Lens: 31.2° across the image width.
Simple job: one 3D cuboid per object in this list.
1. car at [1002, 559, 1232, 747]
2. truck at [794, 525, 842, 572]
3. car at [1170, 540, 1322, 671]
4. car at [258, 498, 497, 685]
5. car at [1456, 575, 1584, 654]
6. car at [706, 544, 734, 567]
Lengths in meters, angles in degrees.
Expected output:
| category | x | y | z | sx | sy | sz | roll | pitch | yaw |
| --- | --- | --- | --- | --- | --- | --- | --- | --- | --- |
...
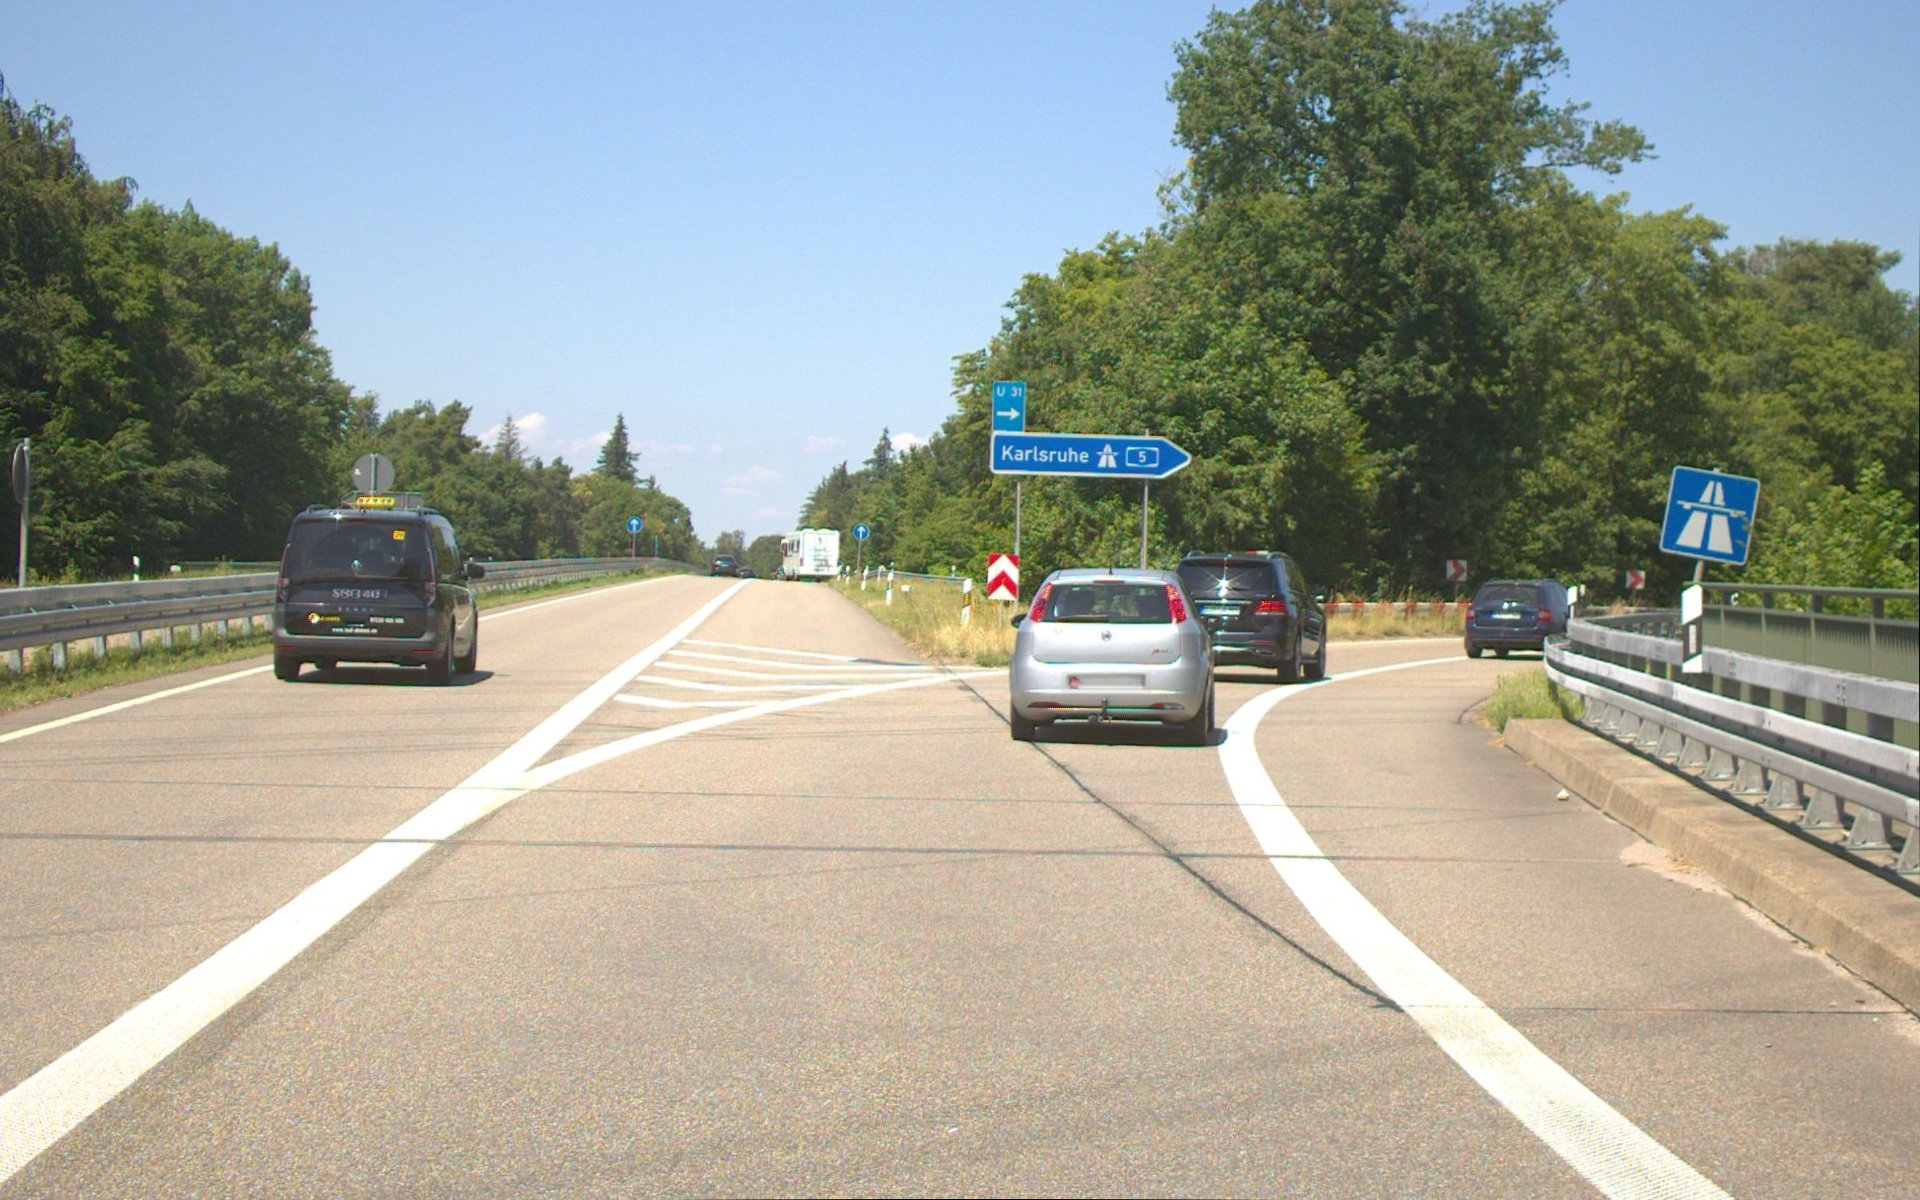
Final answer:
| category | x | y | z | sx | sy | sz | roll | pitch | yaw |
| --- | --- | --- | --- | --- | --- | --- | --- | --- | --- |
| car | 1.422 | 0.418 | 29.944 | 1.641 | 1.463 | 3.418 | 3 | 1 | 7 |
| truck | -8.249 | -2.983 | 198.869 | 2.618 | 2.633 | 7.668 | 1 | 1 | -3 |
| car | 3.969 | 0.067 | 47.252 | 1.641 | 1.648 | 3.572 | 3 | 1 | 11 |
| car | -6.244 | -0.129 | 37.431 | 1.854 | 1.880 | 5.574 | 0 | 1 | -2 |
| car | 10.335 | 0.263 | 63.278 | 1.642 | 1.338 | 3.570 | 3 | 1 | 20 |
| car | -16.219 | -3.010 | 232.120 | 1.712 | 1.466 | 3.574 | 3 | 1 | -2 |
